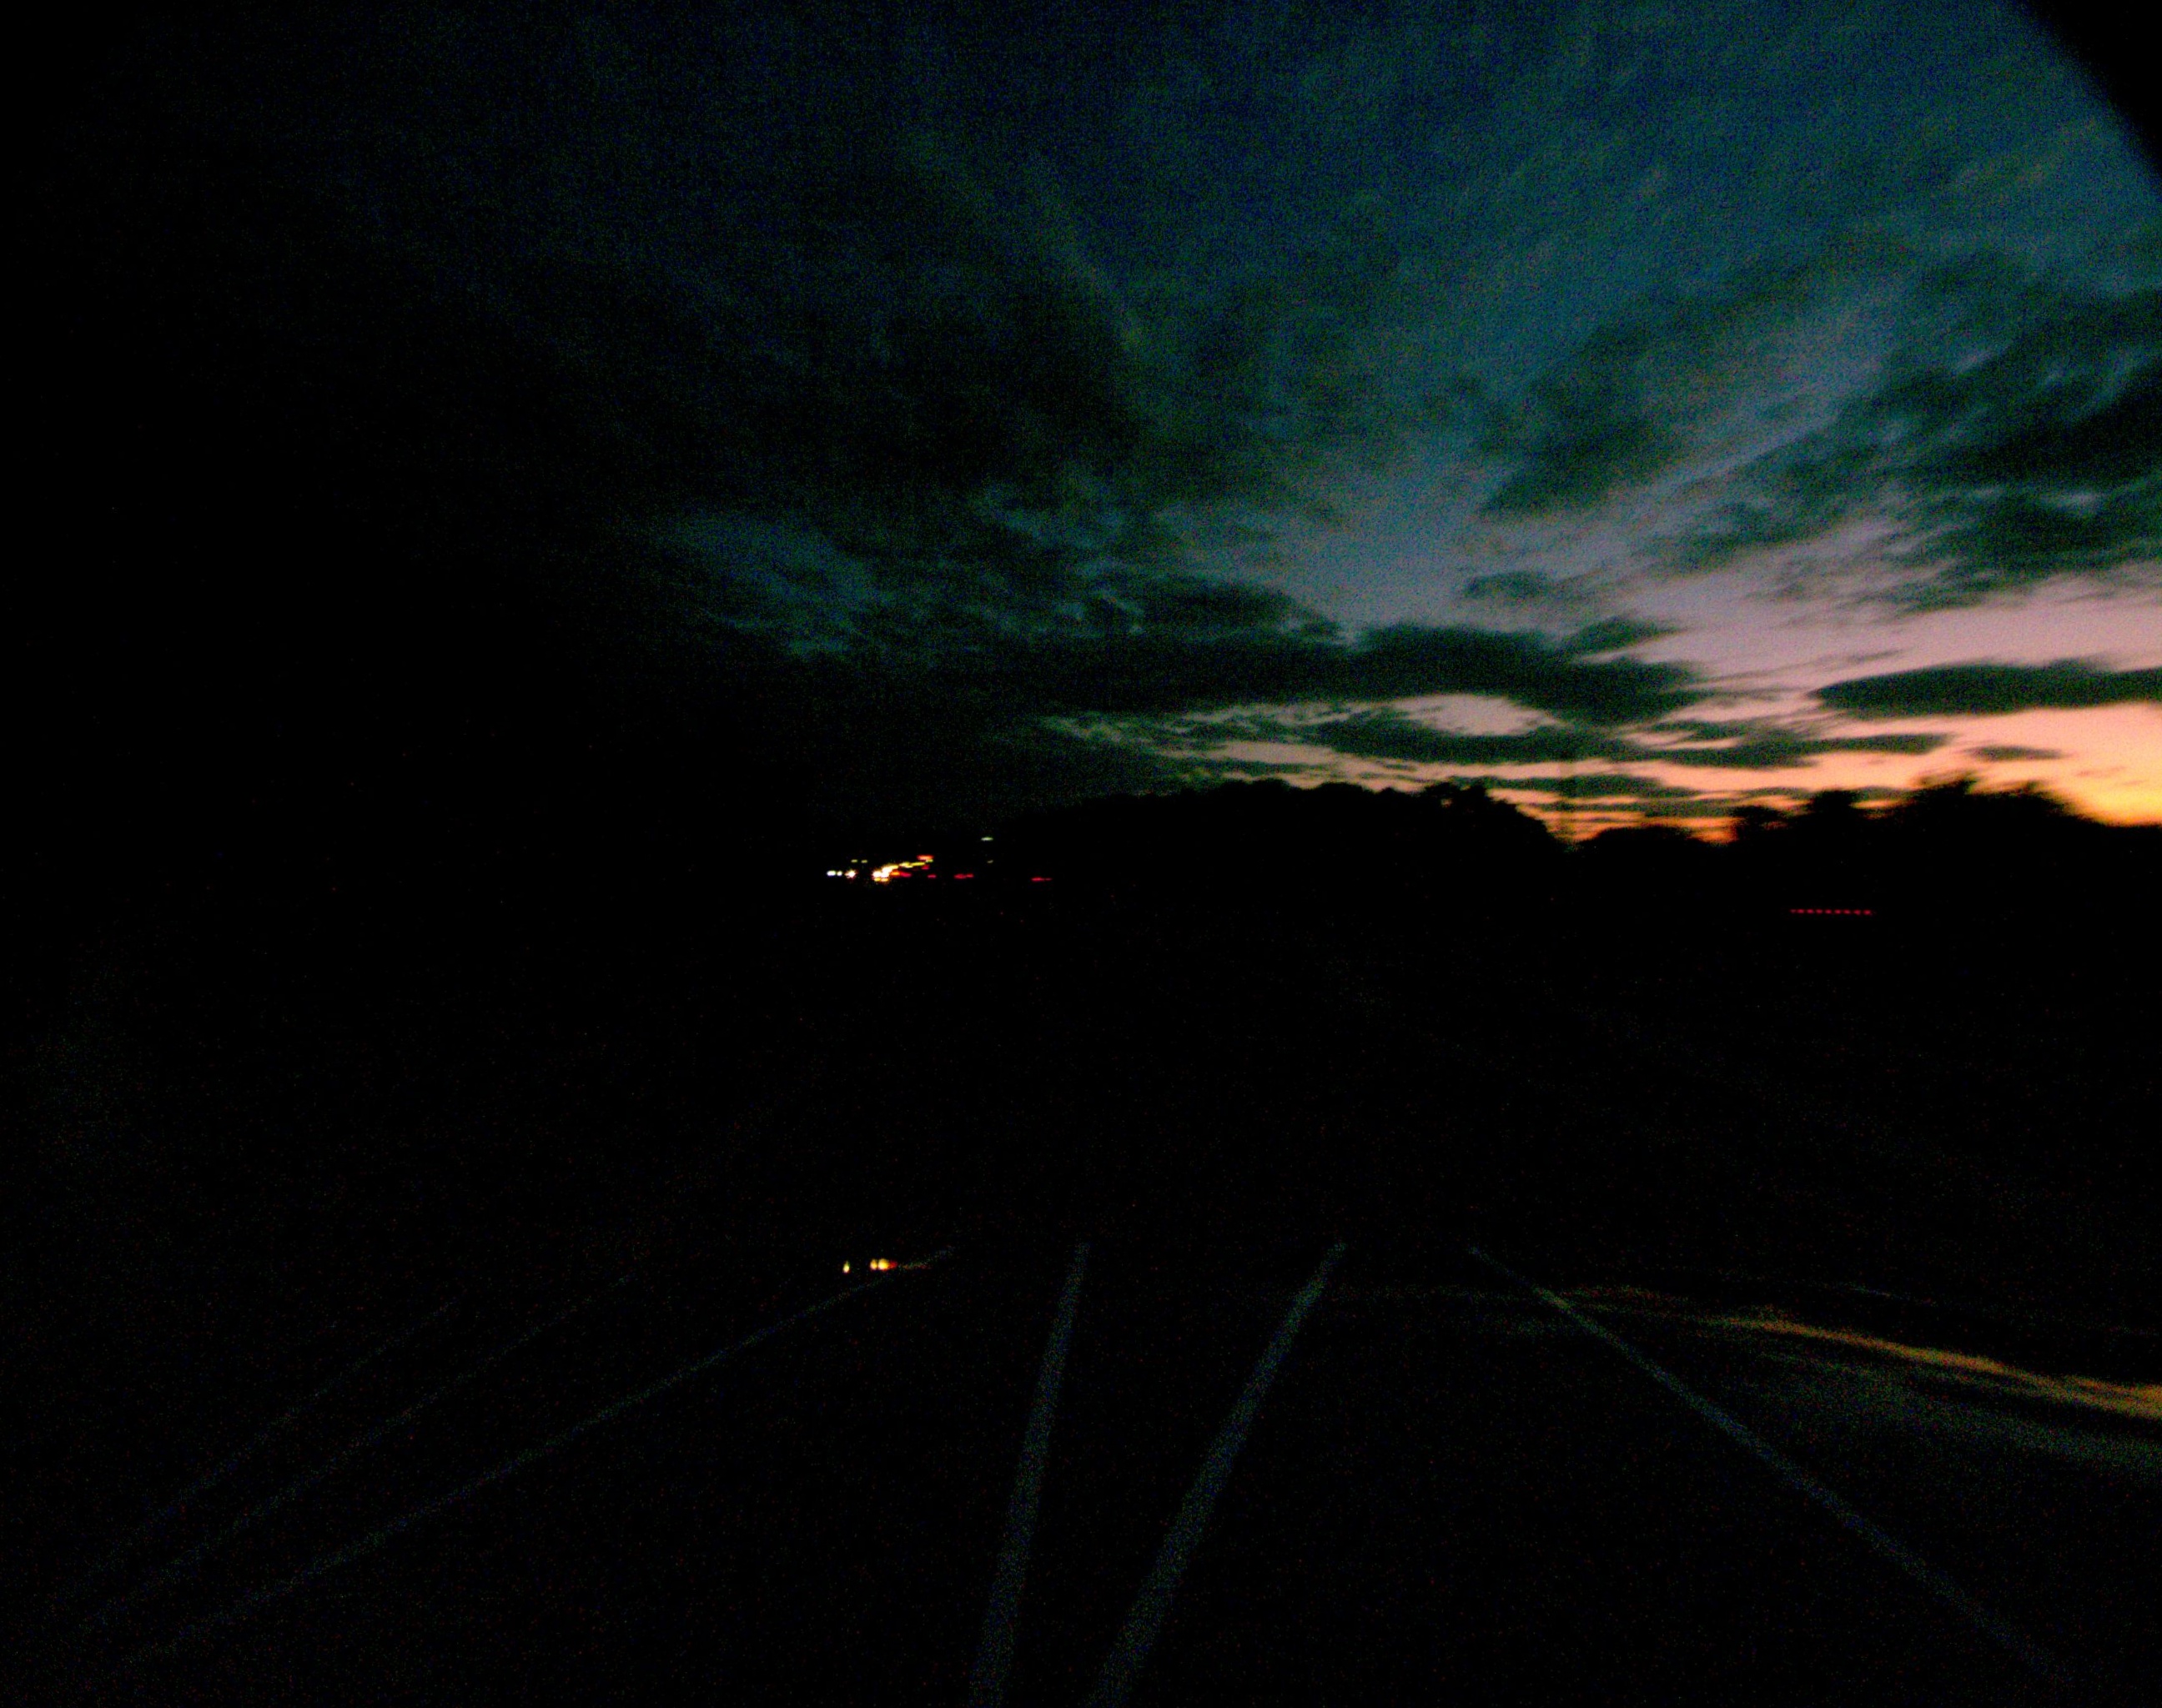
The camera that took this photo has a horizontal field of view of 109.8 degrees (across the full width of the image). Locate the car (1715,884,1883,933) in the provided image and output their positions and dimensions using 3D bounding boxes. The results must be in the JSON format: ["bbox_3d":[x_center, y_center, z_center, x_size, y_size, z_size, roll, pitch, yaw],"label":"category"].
[{"bbox_3d":[26.163,1.936,27.852,2.002,1.502,3.992,-1,0,-24],"label":"car"}]

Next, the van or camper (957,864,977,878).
[{"bbox_3d":[-22.445,3.313,149.346,2.528,2.579,6.477,2,-1,-22],"label":"van or camper"}]

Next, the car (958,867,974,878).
[{"bbox_3d":[-21.032,3.392,139.004,2.002,2.001,3.993,1,-1,-21],"label":"car"}]

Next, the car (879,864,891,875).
[{"bbox_3d":[-38.838,3.042,150.605,2.002,2.001,3.994,3,-2,-18],"label":"car"}]

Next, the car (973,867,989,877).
[{"bbox_3d":[-20.772,3.727,157.467,2.037,2.001,4.230,3,-2,-23],"label":"car"}]

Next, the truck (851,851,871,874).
[{"bbox_3d":[-44.146,1.684,152.299,3.358,4.292,11.309,3,-1,-17],"label":"truck"}]
